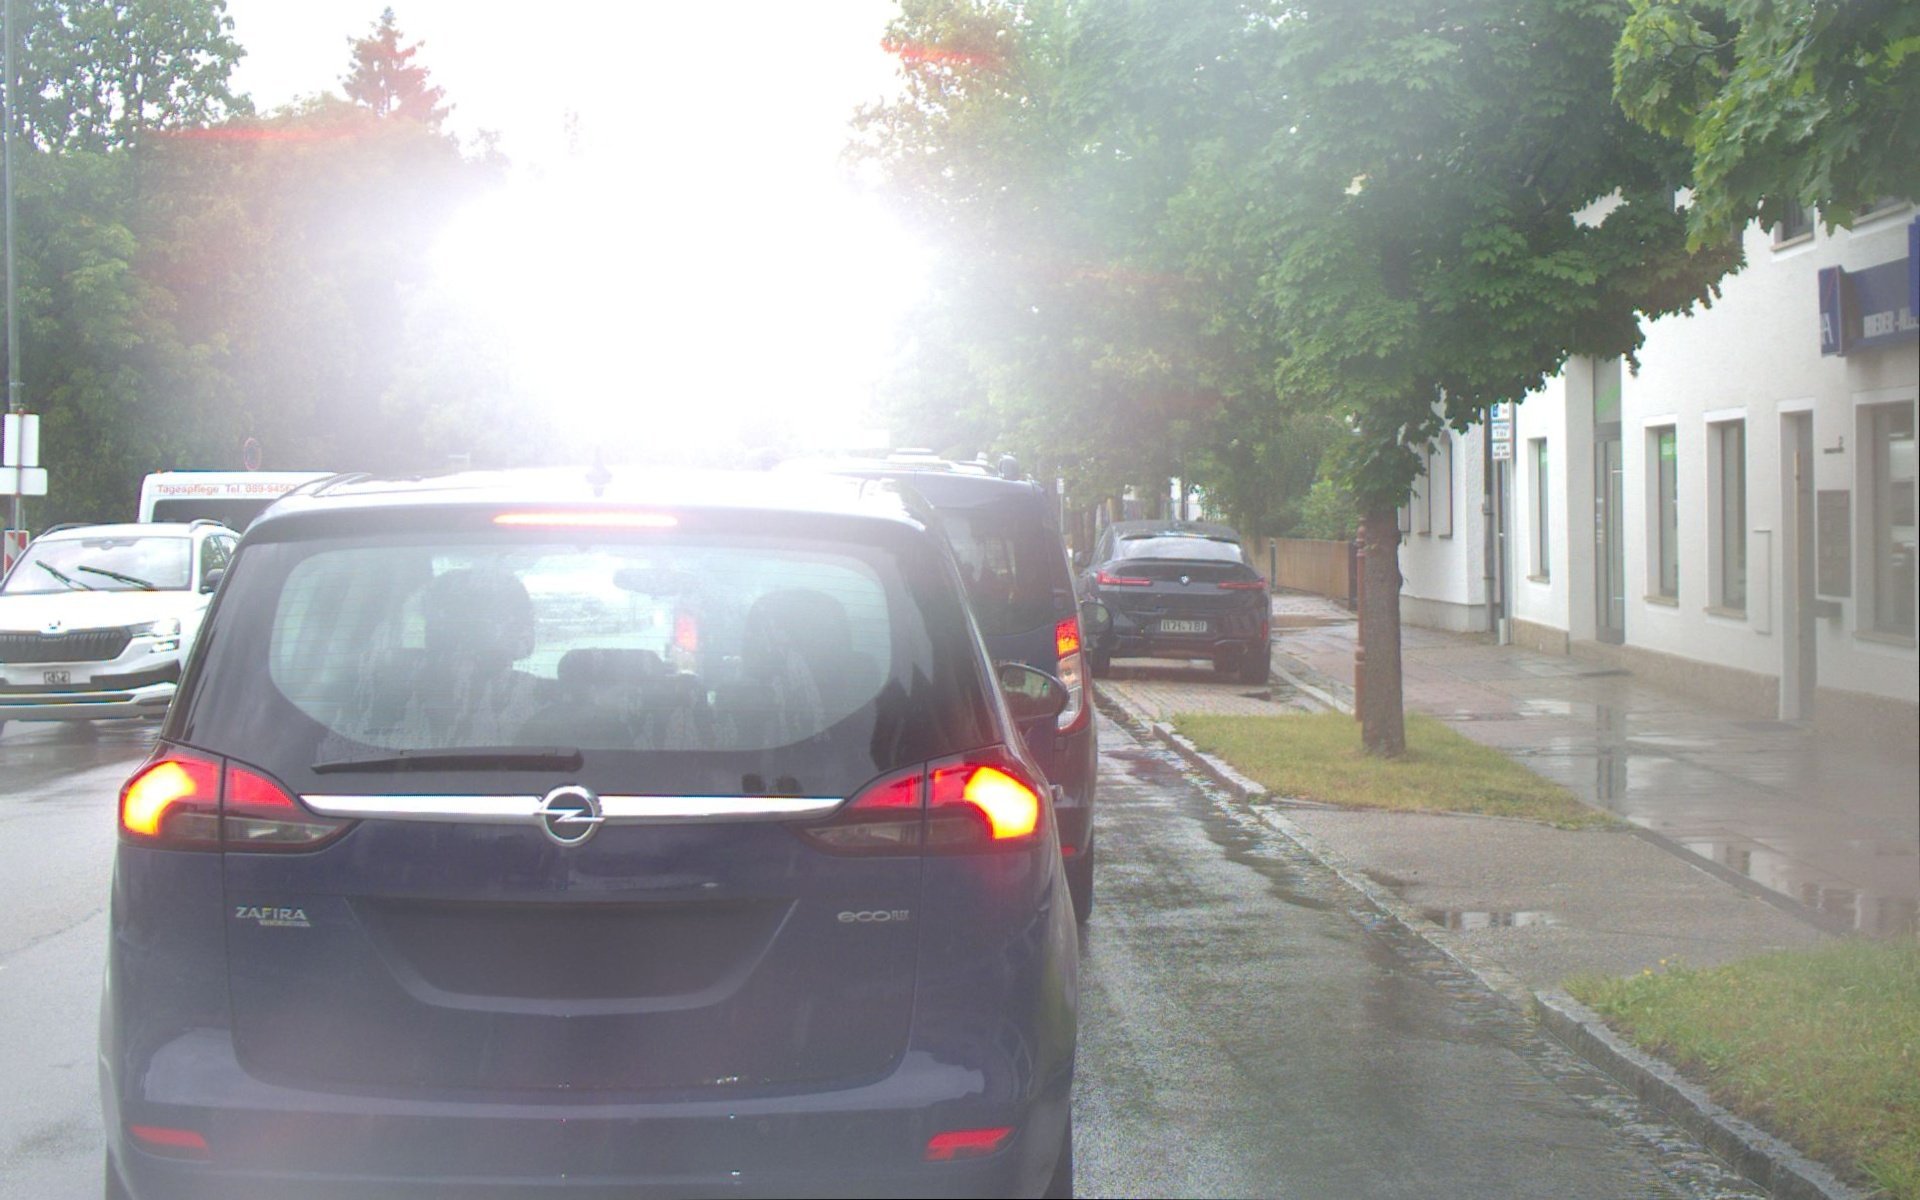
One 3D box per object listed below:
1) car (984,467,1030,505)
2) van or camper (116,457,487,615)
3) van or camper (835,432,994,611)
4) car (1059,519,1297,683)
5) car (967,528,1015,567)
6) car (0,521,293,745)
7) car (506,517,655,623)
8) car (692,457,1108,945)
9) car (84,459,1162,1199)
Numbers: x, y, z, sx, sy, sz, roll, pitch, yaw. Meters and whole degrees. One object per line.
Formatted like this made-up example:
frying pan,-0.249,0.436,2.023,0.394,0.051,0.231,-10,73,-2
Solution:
car,1.817,-4.424,134.029,1.630,1.373,3.623,-1,1,-1
van or camper,-11.649,-1.146,61.173,6.247,2.698,2.101,-1,1,-4
van or camper,-0.714,-1.232,54.164,2.360,2.656,5.372,-1,1,-1
car,2.208,-0.019,35.905,2.117,1.575,3.936,1,1,-1
car,1.118,-1.902,124.622,1.630,1.373,3.623,1,1,-1
car,-6.463,0.194,26.425,1.926,1.561,4.126,-1,1,-1
car,-5.786,-0.485,52.786,1.752,1.506,4.230,-2,1,0
car,-0.241,0.339,14.173,1.500,1.770,3.112,1,1,-1
car,-0.582,0.536,7.508,1.768,1.599,3.663,0,1,-1
